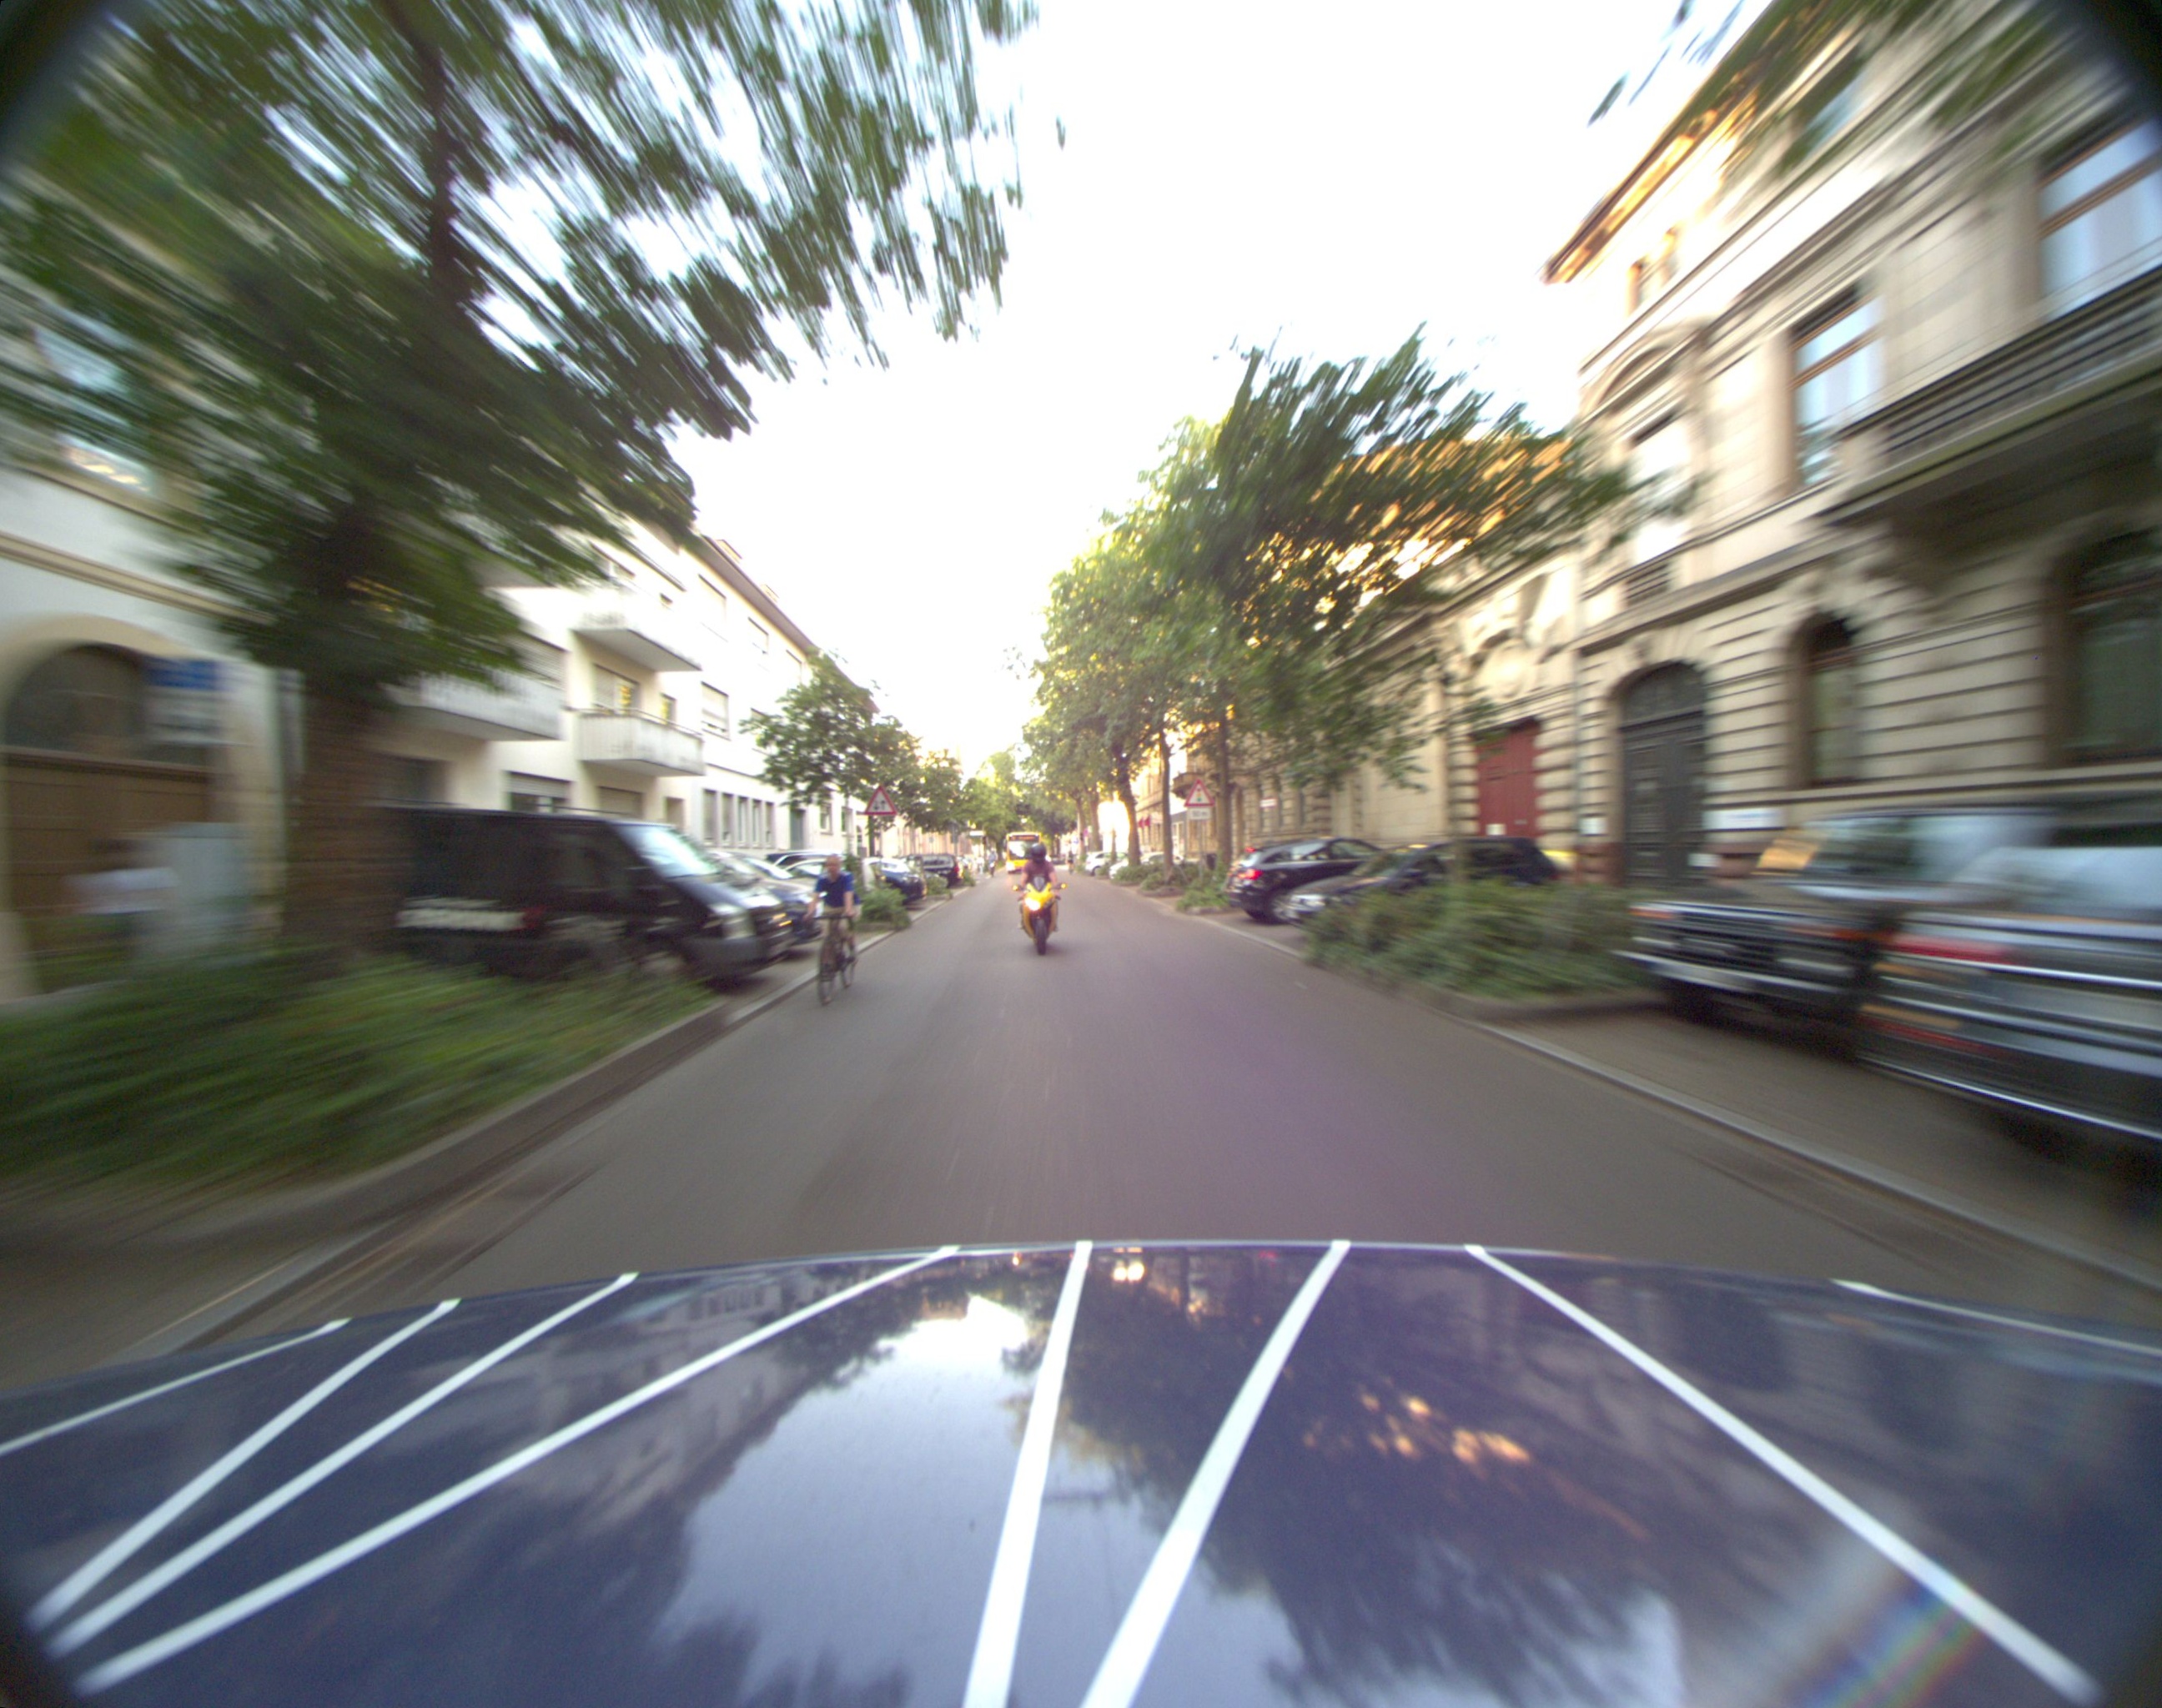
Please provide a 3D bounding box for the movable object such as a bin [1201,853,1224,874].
[{"bbox_3d":[6.946,0.502,40.202,0.803,1.055,1.316,-4,1,-4],"label":"movable object such as a bin"}]

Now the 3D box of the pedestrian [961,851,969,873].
[{"bbox_3d":[-9.297,0.613,60.761,0.544,1.764,0.576,1,0,-2],"label":"pedestrian"}]

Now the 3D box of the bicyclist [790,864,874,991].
[{"bbox_3d":[-2.837,0.809,8.723,0.674,1.355,0.776,-3,1,-3],"label":"bicyclist"}]

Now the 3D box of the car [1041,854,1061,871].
[{"bbox_3d":[-3.008,0.793,75.534,1.947,1.561,4.357,-1,1,-3],"label":"car"}]

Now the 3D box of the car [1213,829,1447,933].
[{"bbox_3d":[4.879,0.499,15.226,3.976,1.587,1.780,-5,1,-4],"label":"car"}]

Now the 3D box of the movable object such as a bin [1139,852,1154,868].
[{"bbox_3d":[4.464,0.432,52.066,0.777,1.055,1.316,-2,0,-4],"label":"movable object such as a bin"}]

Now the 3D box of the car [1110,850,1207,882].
[{"bbox_3d":[3.787,0.573,37.718,4.525,1.382,1.915,-2,1,-3],"label":"car"}]

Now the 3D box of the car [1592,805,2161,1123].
[{"bbox_3d":[6.005,0.577,5.254,3.812,1.662,1.713,-3,0,-5],"label":"car"}]

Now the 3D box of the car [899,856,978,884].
[{"bbox_3d":[-7.746,0.871,41.650,3.998,1.429,1.793,-1,0,-3],"label":"car"}]

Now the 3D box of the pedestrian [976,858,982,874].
[{"bbox_3d":[-8.110,0.928,60.632,0.451,1.254,0.489,1,0,-10],"label":"pedestrian"}]

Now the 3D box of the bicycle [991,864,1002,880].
[{"bbox_3d":[-5.614,1.179,50.548,0.637,0.977,1.980,-4,0,-5],"label":"bicycle"}]

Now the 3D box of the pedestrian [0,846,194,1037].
[{"bbox_3d":[-8.750,0.739,6.794,0.671,1.589,0.736,-3,1,-4],"label":"pedestrian"}]

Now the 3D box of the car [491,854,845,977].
[{"bbox_3d":[-5.903,0.855,11.361,4.168,1.569,1.968,2,0,-5],"label":"car"}]

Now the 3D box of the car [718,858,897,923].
[{"bbox_3d":[-6.640,0.866,18.757,3.804,1.415,1.697,2,0,-5],"label":"car"}]

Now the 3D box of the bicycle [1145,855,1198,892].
[{"bbox_3d":[3.167,0.683,26.589,1.775,1.225,0.500,-2,2,1],"label":"bicycle"}]

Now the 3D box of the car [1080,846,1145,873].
[{"bbox_3d":[2.284,0.393,55.469,4.438,1.712,1.889,-4,1,-6],"label":"car"}]

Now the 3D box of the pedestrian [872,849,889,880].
[{"bbox_3d":[-11.730,0.618,44.501,0.699,1.785,1.065,-1,0,-3],"label":"pedestrian"}]

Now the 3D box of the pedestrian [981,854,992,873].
[{"bbox_3d":[-7.459,0.730,59.857,0.600,1.502,0.719,0,1,-33],"label":"pedestrian"}]

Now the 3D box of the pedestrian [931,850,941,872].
[{"bbox_3d":[-12.597,0.602,66.042,0.699,1.844,1.049,0,0,-5],"label":"pedestrian"}]

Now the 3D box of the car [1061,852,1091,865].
[{"bbox_3d":[-0.789,0.644,108.970,4.001,1.660,1.798,-1,0,-12],"label":"car"}]

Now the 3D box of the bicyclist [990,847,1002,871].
[{"bbox_3d":[-5.658,0.361,50.501,0.637,1.552,0.818,-4,0,-5],"label":"bicyclist"}]

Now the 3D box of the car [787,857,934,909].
[{"bbox_3d":[-6.843,0.879,23.926,4.085,1.421,1.817,2,0,-2],"label":"car"}]

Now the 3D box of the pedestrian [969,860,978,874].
[{"bbox_3d":[-8.618,1.016,61.061,0.491,1.138,0.547,1,1,33],"label":"pedestrian"}]

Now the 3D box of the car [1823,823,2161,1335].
[{"bbox_3d":[5.640,0.655,2.713,4.213,1.662,1.907,-3,0,-4],"label":"car"}]

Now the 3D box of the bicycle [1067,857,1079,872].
[{"bbox_3d":[-0.578,0.730,52.465,0.674,0.988,1.757,-1,0,-5],"label":"bicycle"}]

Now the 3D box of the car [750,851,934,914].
[{"bbox_3d":[-6.646,0.775,21.545,4.604,1.569,1.943,2,0,-5],"label":"car"}]

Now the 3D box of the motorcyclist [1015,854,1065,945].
[{"bbox_3d":[-0.655,0.716,12.233,0.737,1.404,0.726,-1,1,-3],"label":"motorcyclist"}]

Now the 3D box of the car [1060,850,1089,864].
[{"bbox_3d":[-1.012,0.457,114.148,4.001,1.940,1.998,-1,0,-12],"label":"car"}]

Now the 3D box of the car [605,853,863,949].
[{"bbox_3d":[-6.354,0.845,14.322,3.977,1.569,1.850,2,0,-5],"label":"car"}]

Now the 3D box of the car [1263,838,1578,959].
[{"bbox_3d":[5.050,0.632,11.665,3.976,1.379,1.764,-5,0,-3],"label":"car"}]

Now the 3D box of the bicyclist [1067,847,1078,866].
[{"bbox_3d":[-0.599,0.185,52.468,0.674,1.256,0.647,-1,0,-5],"label":"bicyclist"}]

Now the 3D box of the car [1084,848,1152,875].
[{"bbox_3d":[2.299,0.444,47.945,4.181,1.548,1.826,-2,1,-1],"label":"car"}]

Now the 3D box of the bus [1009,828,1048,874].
[{"bbox_3d":[-4.219,-0.222,61.223,2.669,3.176,11.893,-3,0,-4],"label":"bus"}]

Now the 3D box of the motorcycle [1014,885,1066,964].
[{"bbox_3d":[-0.651,1.085,12.213,0.737,1.053,1.963,-1,1,-3],"label":"motorcycle"}]

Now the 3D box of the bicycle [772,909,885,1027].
[{"bbox_3d":[-2.818,1.231,8.703,0.674,1.024,1.976,-3,0,-3],"label":"bicycle"}]

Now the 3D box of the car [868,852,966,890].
[{"bbox_3d":[-7.504,0.760,35.169,4.121,1.608,1.960,-1,0,-3],"label":"car"}]

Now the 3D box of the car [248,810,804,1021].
[{"bbox_3d":[-5.898,0.645,8.666,4.703,1.999,2.036,2,0,-4],"label":"car"}]

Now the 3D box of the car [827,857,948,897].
[{"bbox_3d":[-7.450,0.882,29.640,4.328,1.487,1.793,0,1,-5],"label":"car"}]
